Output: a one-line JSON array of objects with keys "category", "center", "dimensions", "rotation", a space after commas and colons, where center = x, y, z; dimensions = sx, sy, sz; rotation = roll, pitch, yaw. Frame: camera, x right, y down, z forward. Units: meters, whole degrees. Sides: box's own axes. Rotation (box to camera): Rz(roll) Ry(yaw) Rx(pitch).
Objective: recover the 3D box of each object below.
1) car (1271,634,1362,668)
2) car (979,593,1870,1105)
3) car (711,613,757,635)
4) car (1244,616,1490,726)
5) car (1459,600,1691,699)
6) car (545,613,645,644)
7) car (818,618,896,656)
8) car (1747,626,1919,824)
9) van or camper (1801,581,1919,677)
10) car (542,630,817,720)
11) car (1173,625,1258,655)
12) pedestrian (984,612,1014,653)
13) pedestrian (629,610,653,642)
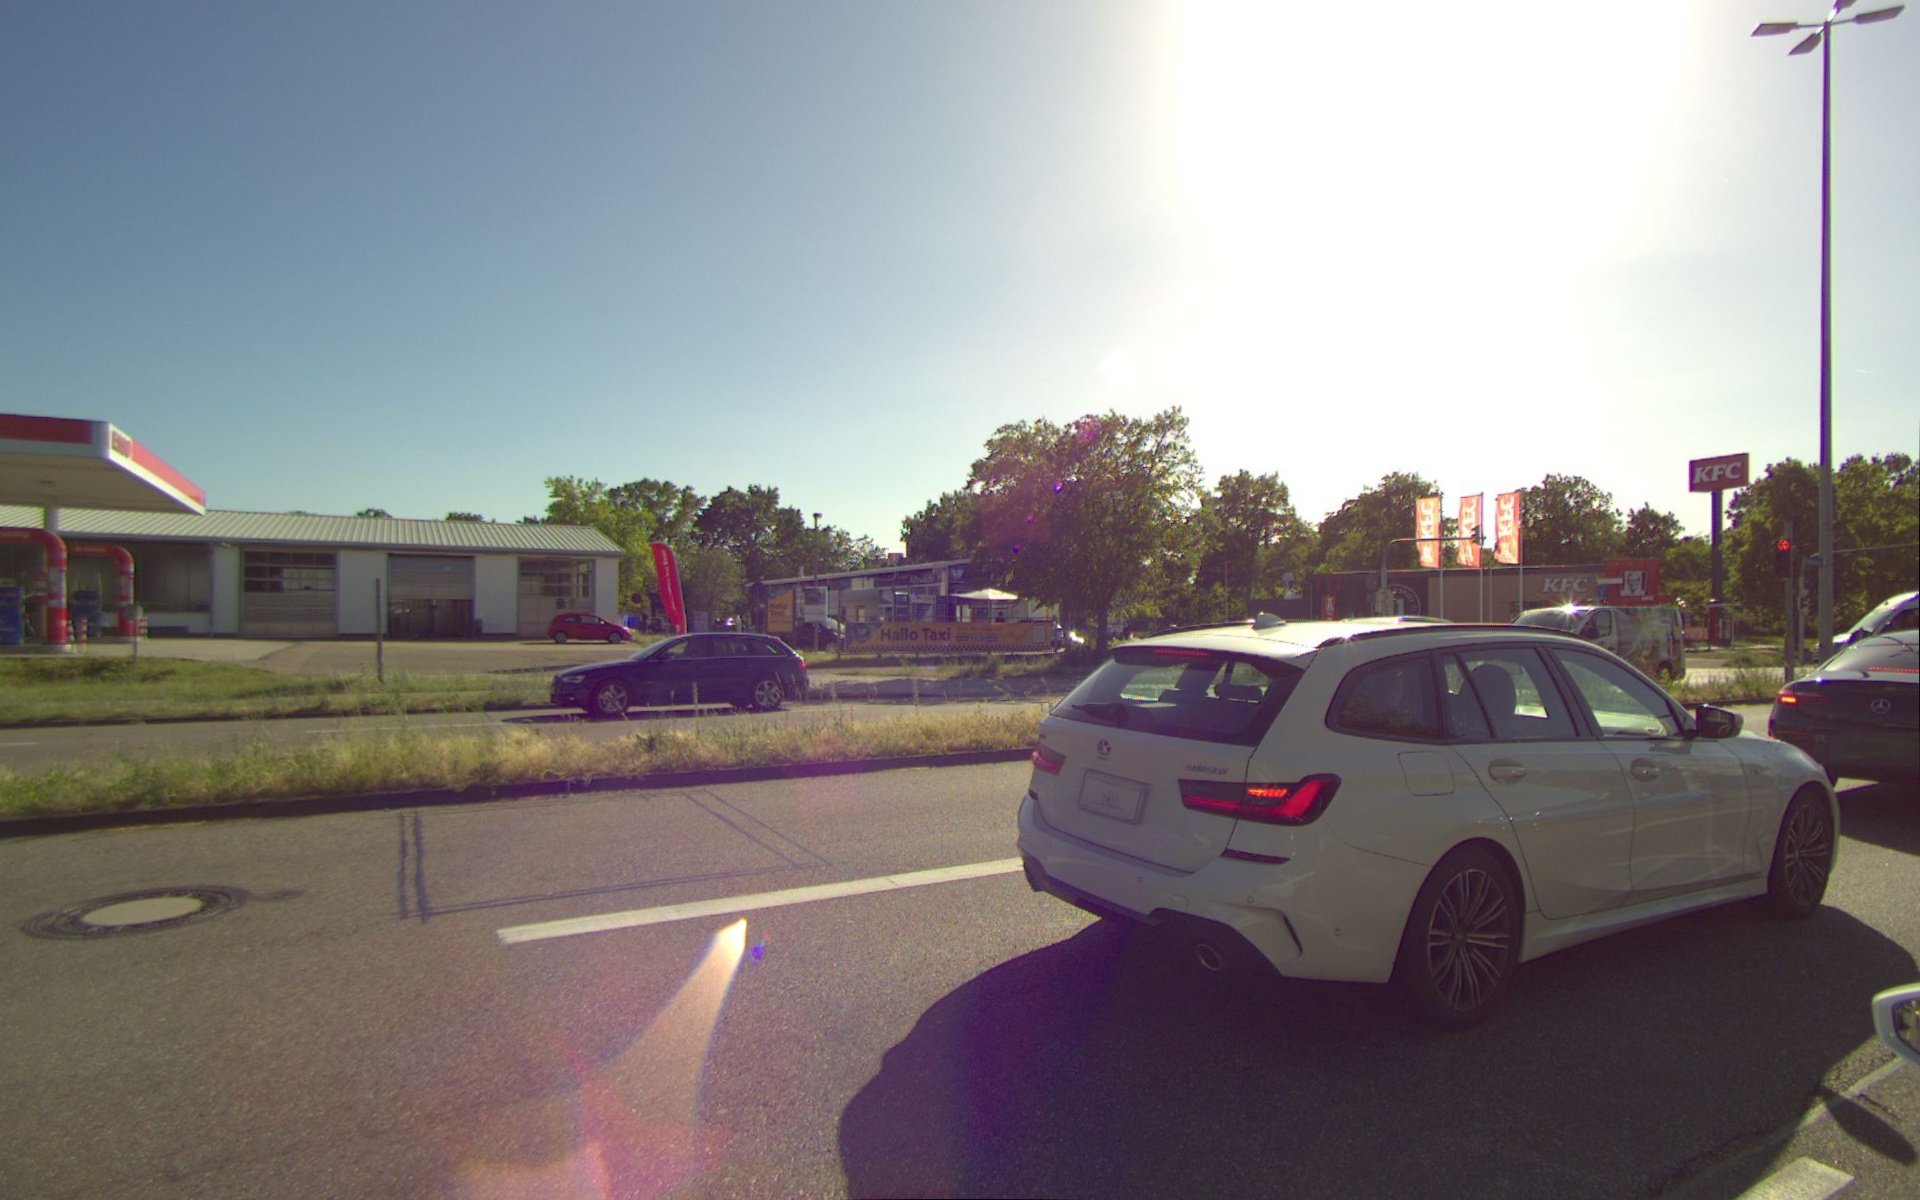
[{"category": "car", "center": [17.025, 2.399, 48.154], "dimensions": [1.801, 1.448, 4.022], "rotation": [1, -1, -27]}, {"category": "car", "center": [2.424, 0.789, 4.894], "dimensions": [4.409, 1.529, 1.760], "rotation": [1, -1, -30]}, {"category": "car", "center": [-19.815, 2.119, 88.369], "dimensions": [2.085, 1.840, 4.000], "rotation": [0, -1, 20]}, {"category": "car", "center": [7.233, 1.164, 17.723], "dimensions": [4.389, 1.712, 1.868], "rotation": [1, -1, -33]}, {"category": "car", "center": [13.883, 1.121, 22.655], "dimensions": [4.957, 2.040, 1.989], "rotation": [1, -3, -24]}, {"category": "car", "center": [-17.986, 1.406, 49.558], "dimensions": [4.486, 1.458, 1.741], "rotation": [1, -1, -26]}, {"category": "car", "center": [-3.804, 1.312, 36.830], "dimensions": [1.625, 1.301, 3.122], "rotation": [1, -1, -32]}, {"category": "car", "center": [8.802, 0.957, 8.615], "dimensions": [4.409, 1.433, 1.760], "rotation": [1, -1, -30]}, {"category": "van or camper", "center": [28.185, 0.832, 28.852], "dimensions": [5.843, 2.686, 1.999], "rotation": [0, -1, 24]}, {"category": "car", "center": [-5.118, 1.328, 18.527], "dimensions": [4.556, 1.464, 1.894], "rotation": [1, -3, -32]}, {"category": "car", "center": [13.792, 2.119, 54.513], "dimensions": [1.840, 1.449, 4.700], "rotation": [0, 0, -28]}, {"category": "pedestrian", "center": [1.762, 1.457, 45.323], "dimensions": [0.916, 1.840, 1.013], "rotation": [1, -1, -34]}, {"category": "pedestrian", "center": [-18.412, 1.500, 57.922], "dimensions": [1.087, 1.787, 1.150], "rotation": [1, -1, -31]}]
